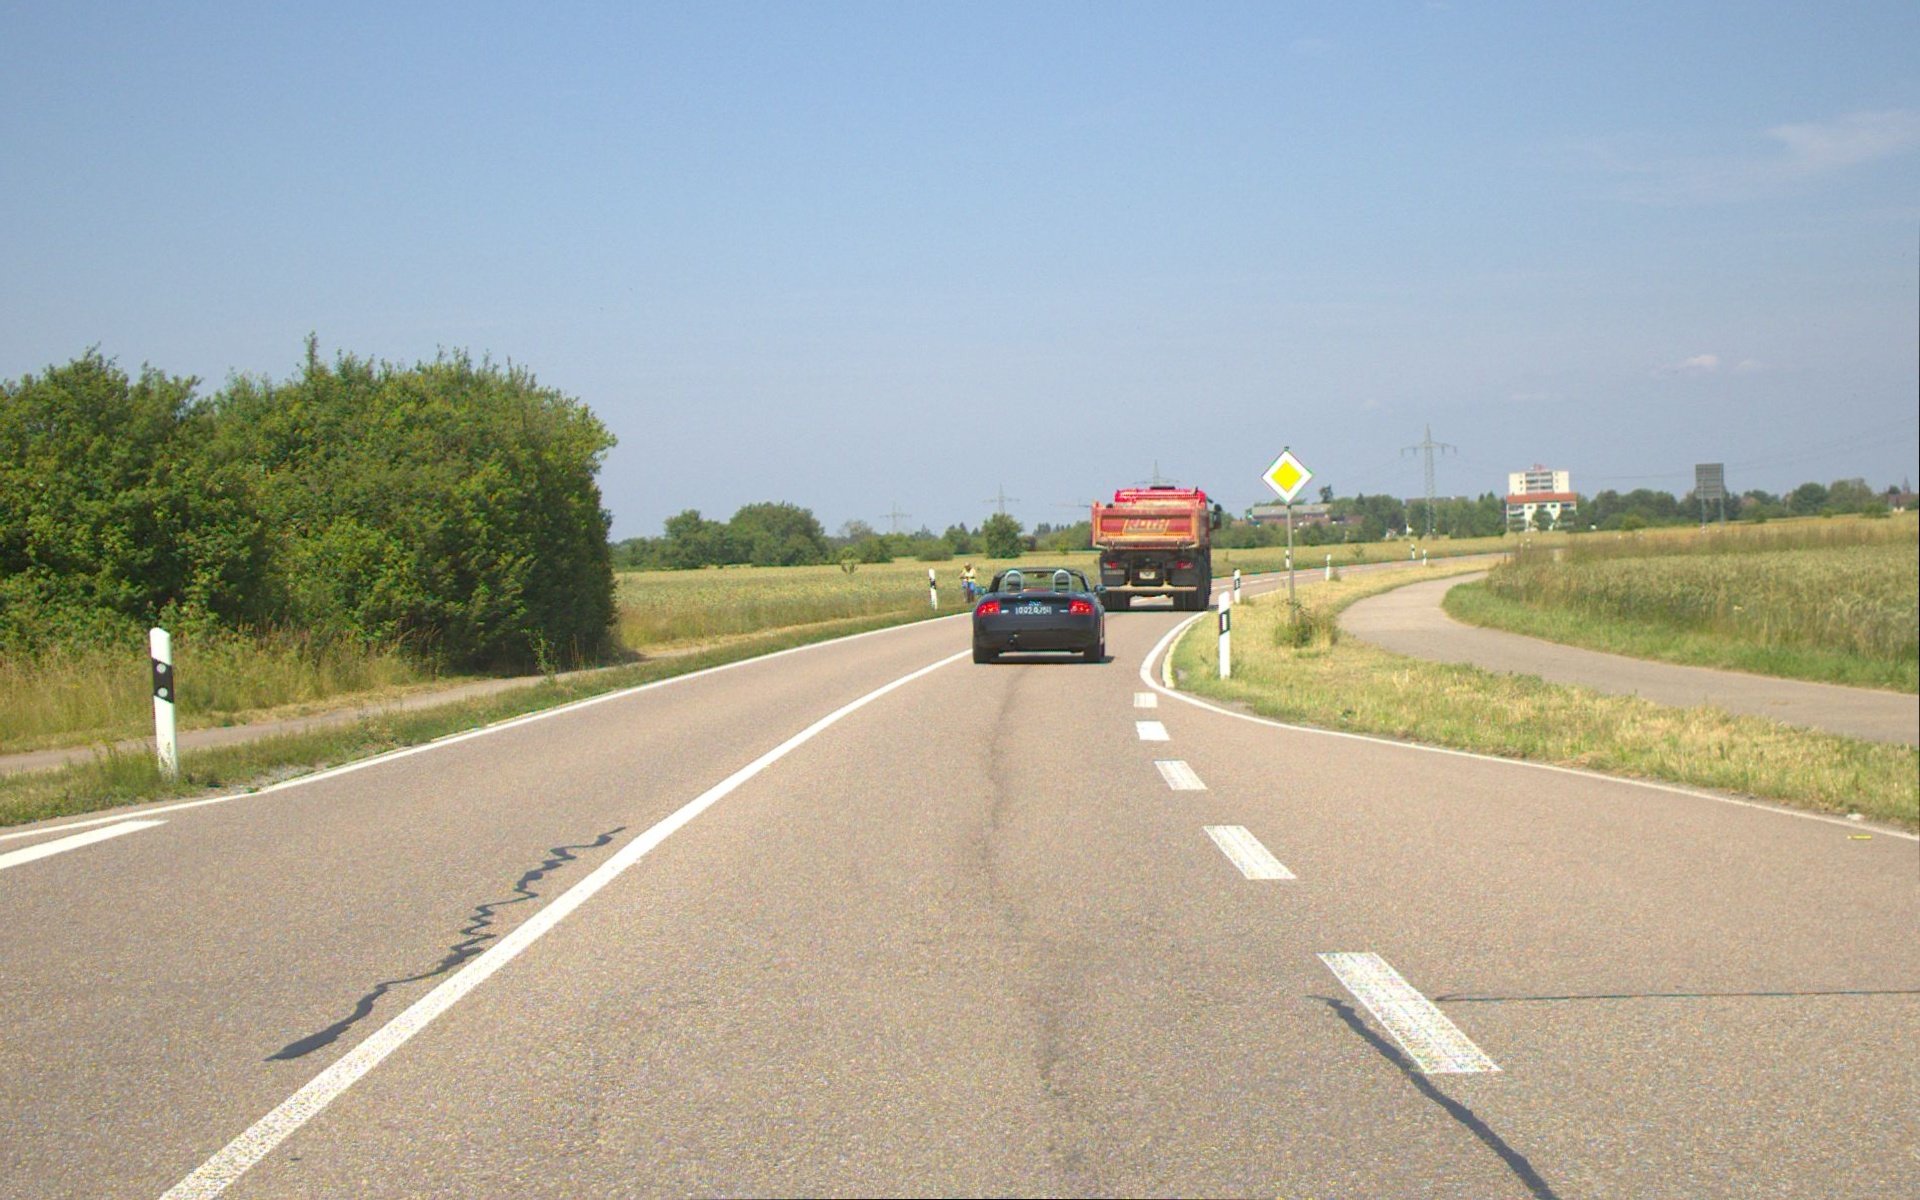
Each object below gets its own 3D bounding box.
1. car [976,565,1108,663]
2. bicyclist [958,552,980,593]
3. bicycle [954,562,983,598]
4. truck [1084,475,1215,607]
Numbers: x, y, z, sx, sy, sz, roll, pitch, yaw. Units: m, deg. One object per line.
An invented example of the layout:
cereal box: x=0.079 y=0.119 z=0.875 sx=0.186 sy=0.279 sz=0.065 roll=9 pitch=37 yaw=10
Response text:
car: x=1.170 y=0.168 z=47.736 sx=1.744 sy=1.275 sz=4.000 roll=-1 pitch=1 yaw=2
bicyclist: x=0.305 y=-0.979 z=120.639 sx=0.664 sy=1.433 sz=0.822 roll=-1 pitch=1 yaw=7
bicycle: x=0.304 y=-0.701 z=120.571 sx=0.694 sy=1.172 sz=1.963 roll=-2 pitch=1 yaw=8
truck: x=4.753 y=-1.432 z=85.029 sx=2.938 sy=3.078 sz=7.195 roll=-1 pitch=0 yaw=5
